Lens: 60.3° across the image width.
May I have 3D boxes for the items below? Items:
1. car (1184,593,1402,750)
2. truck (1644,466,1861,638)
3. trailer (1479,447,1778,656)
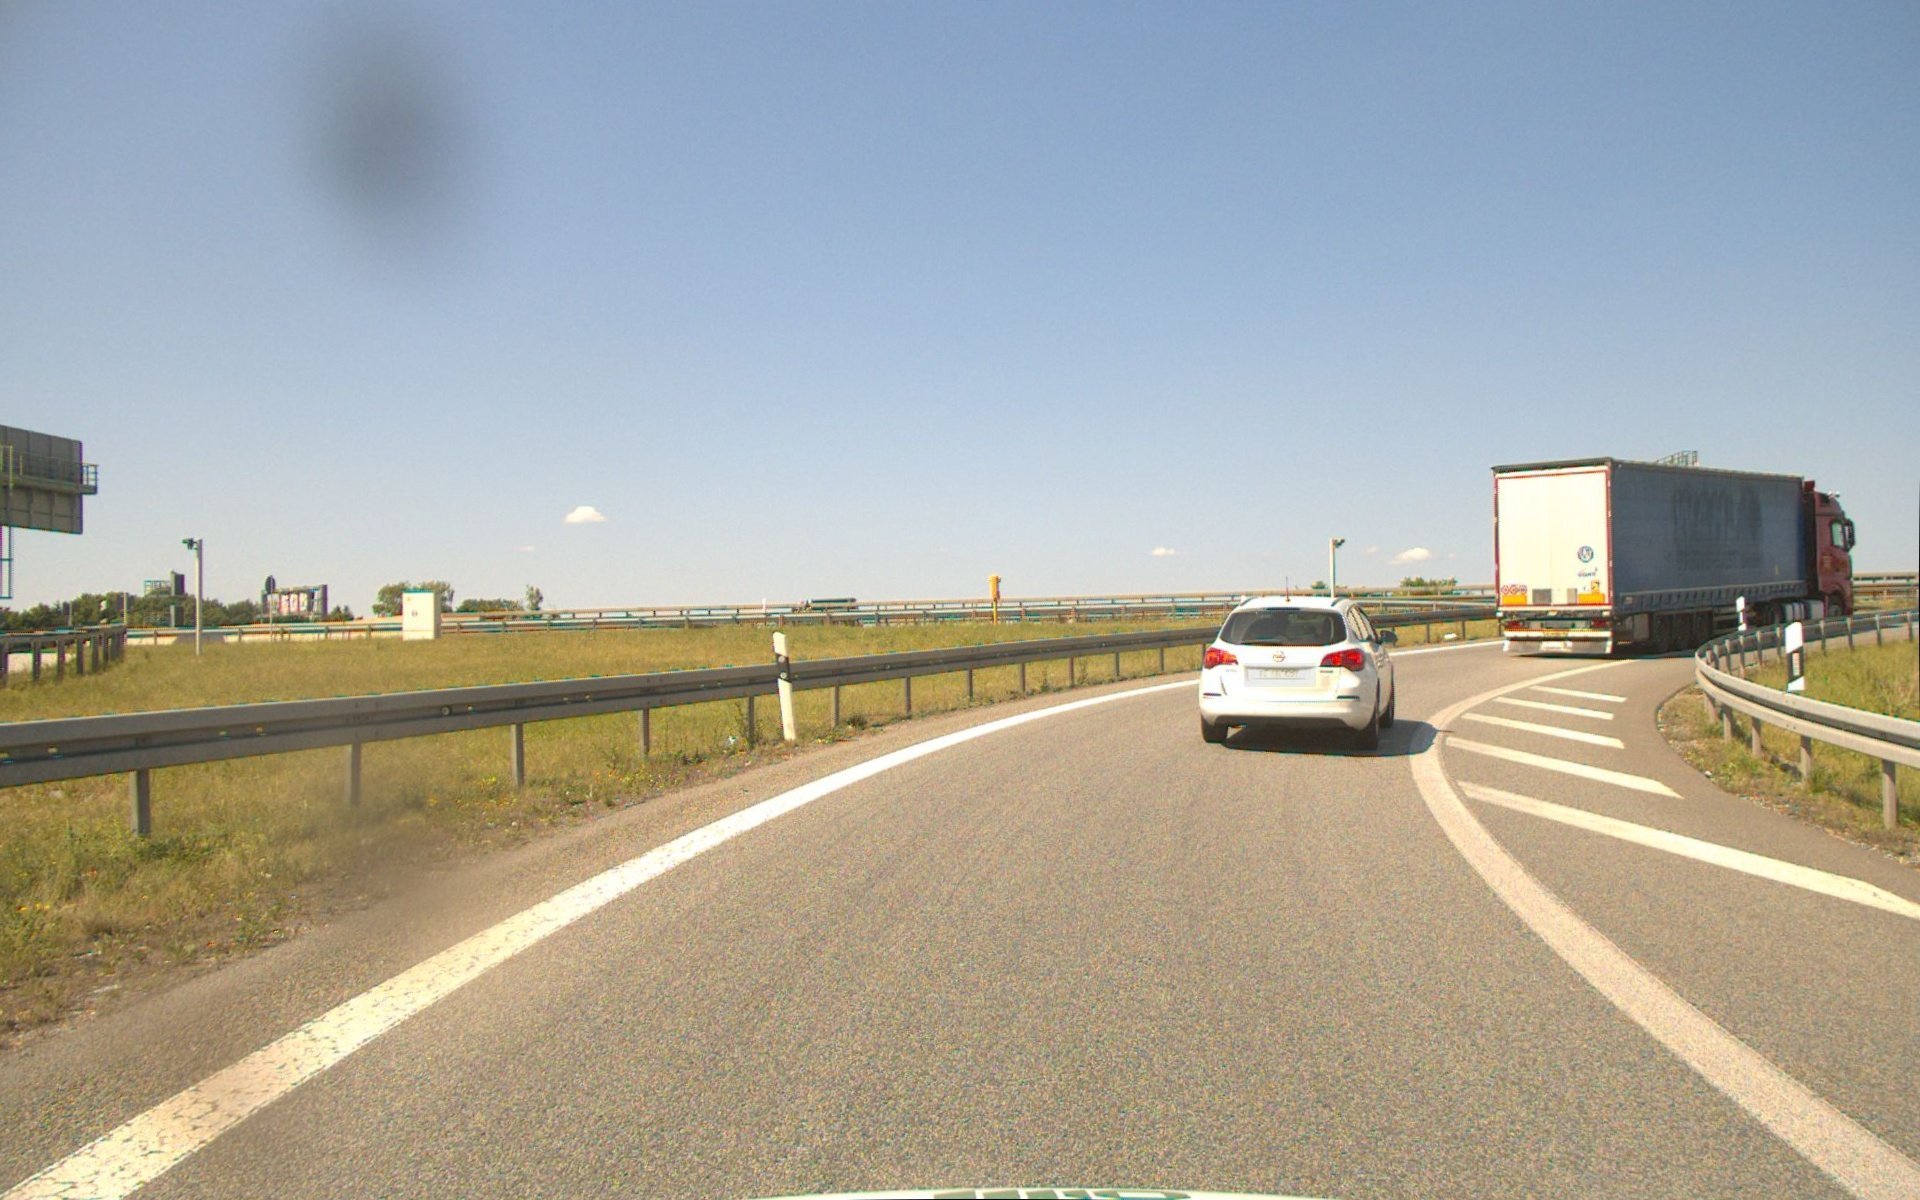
[{"bbox_3d":[3.698,0.674,17.766,1.815,1.468,4.374,-1,0,18],"label":"car"},{"bbox_3d":[21.157,-1.195,43.986,6.868,4.218,2.877,0,0,-43],"label":"truck"},{"bbox_3d":[15.865,-1.022,38.513,2.870,4.218,11.190,0,0,42],"label":"trailer"}]
